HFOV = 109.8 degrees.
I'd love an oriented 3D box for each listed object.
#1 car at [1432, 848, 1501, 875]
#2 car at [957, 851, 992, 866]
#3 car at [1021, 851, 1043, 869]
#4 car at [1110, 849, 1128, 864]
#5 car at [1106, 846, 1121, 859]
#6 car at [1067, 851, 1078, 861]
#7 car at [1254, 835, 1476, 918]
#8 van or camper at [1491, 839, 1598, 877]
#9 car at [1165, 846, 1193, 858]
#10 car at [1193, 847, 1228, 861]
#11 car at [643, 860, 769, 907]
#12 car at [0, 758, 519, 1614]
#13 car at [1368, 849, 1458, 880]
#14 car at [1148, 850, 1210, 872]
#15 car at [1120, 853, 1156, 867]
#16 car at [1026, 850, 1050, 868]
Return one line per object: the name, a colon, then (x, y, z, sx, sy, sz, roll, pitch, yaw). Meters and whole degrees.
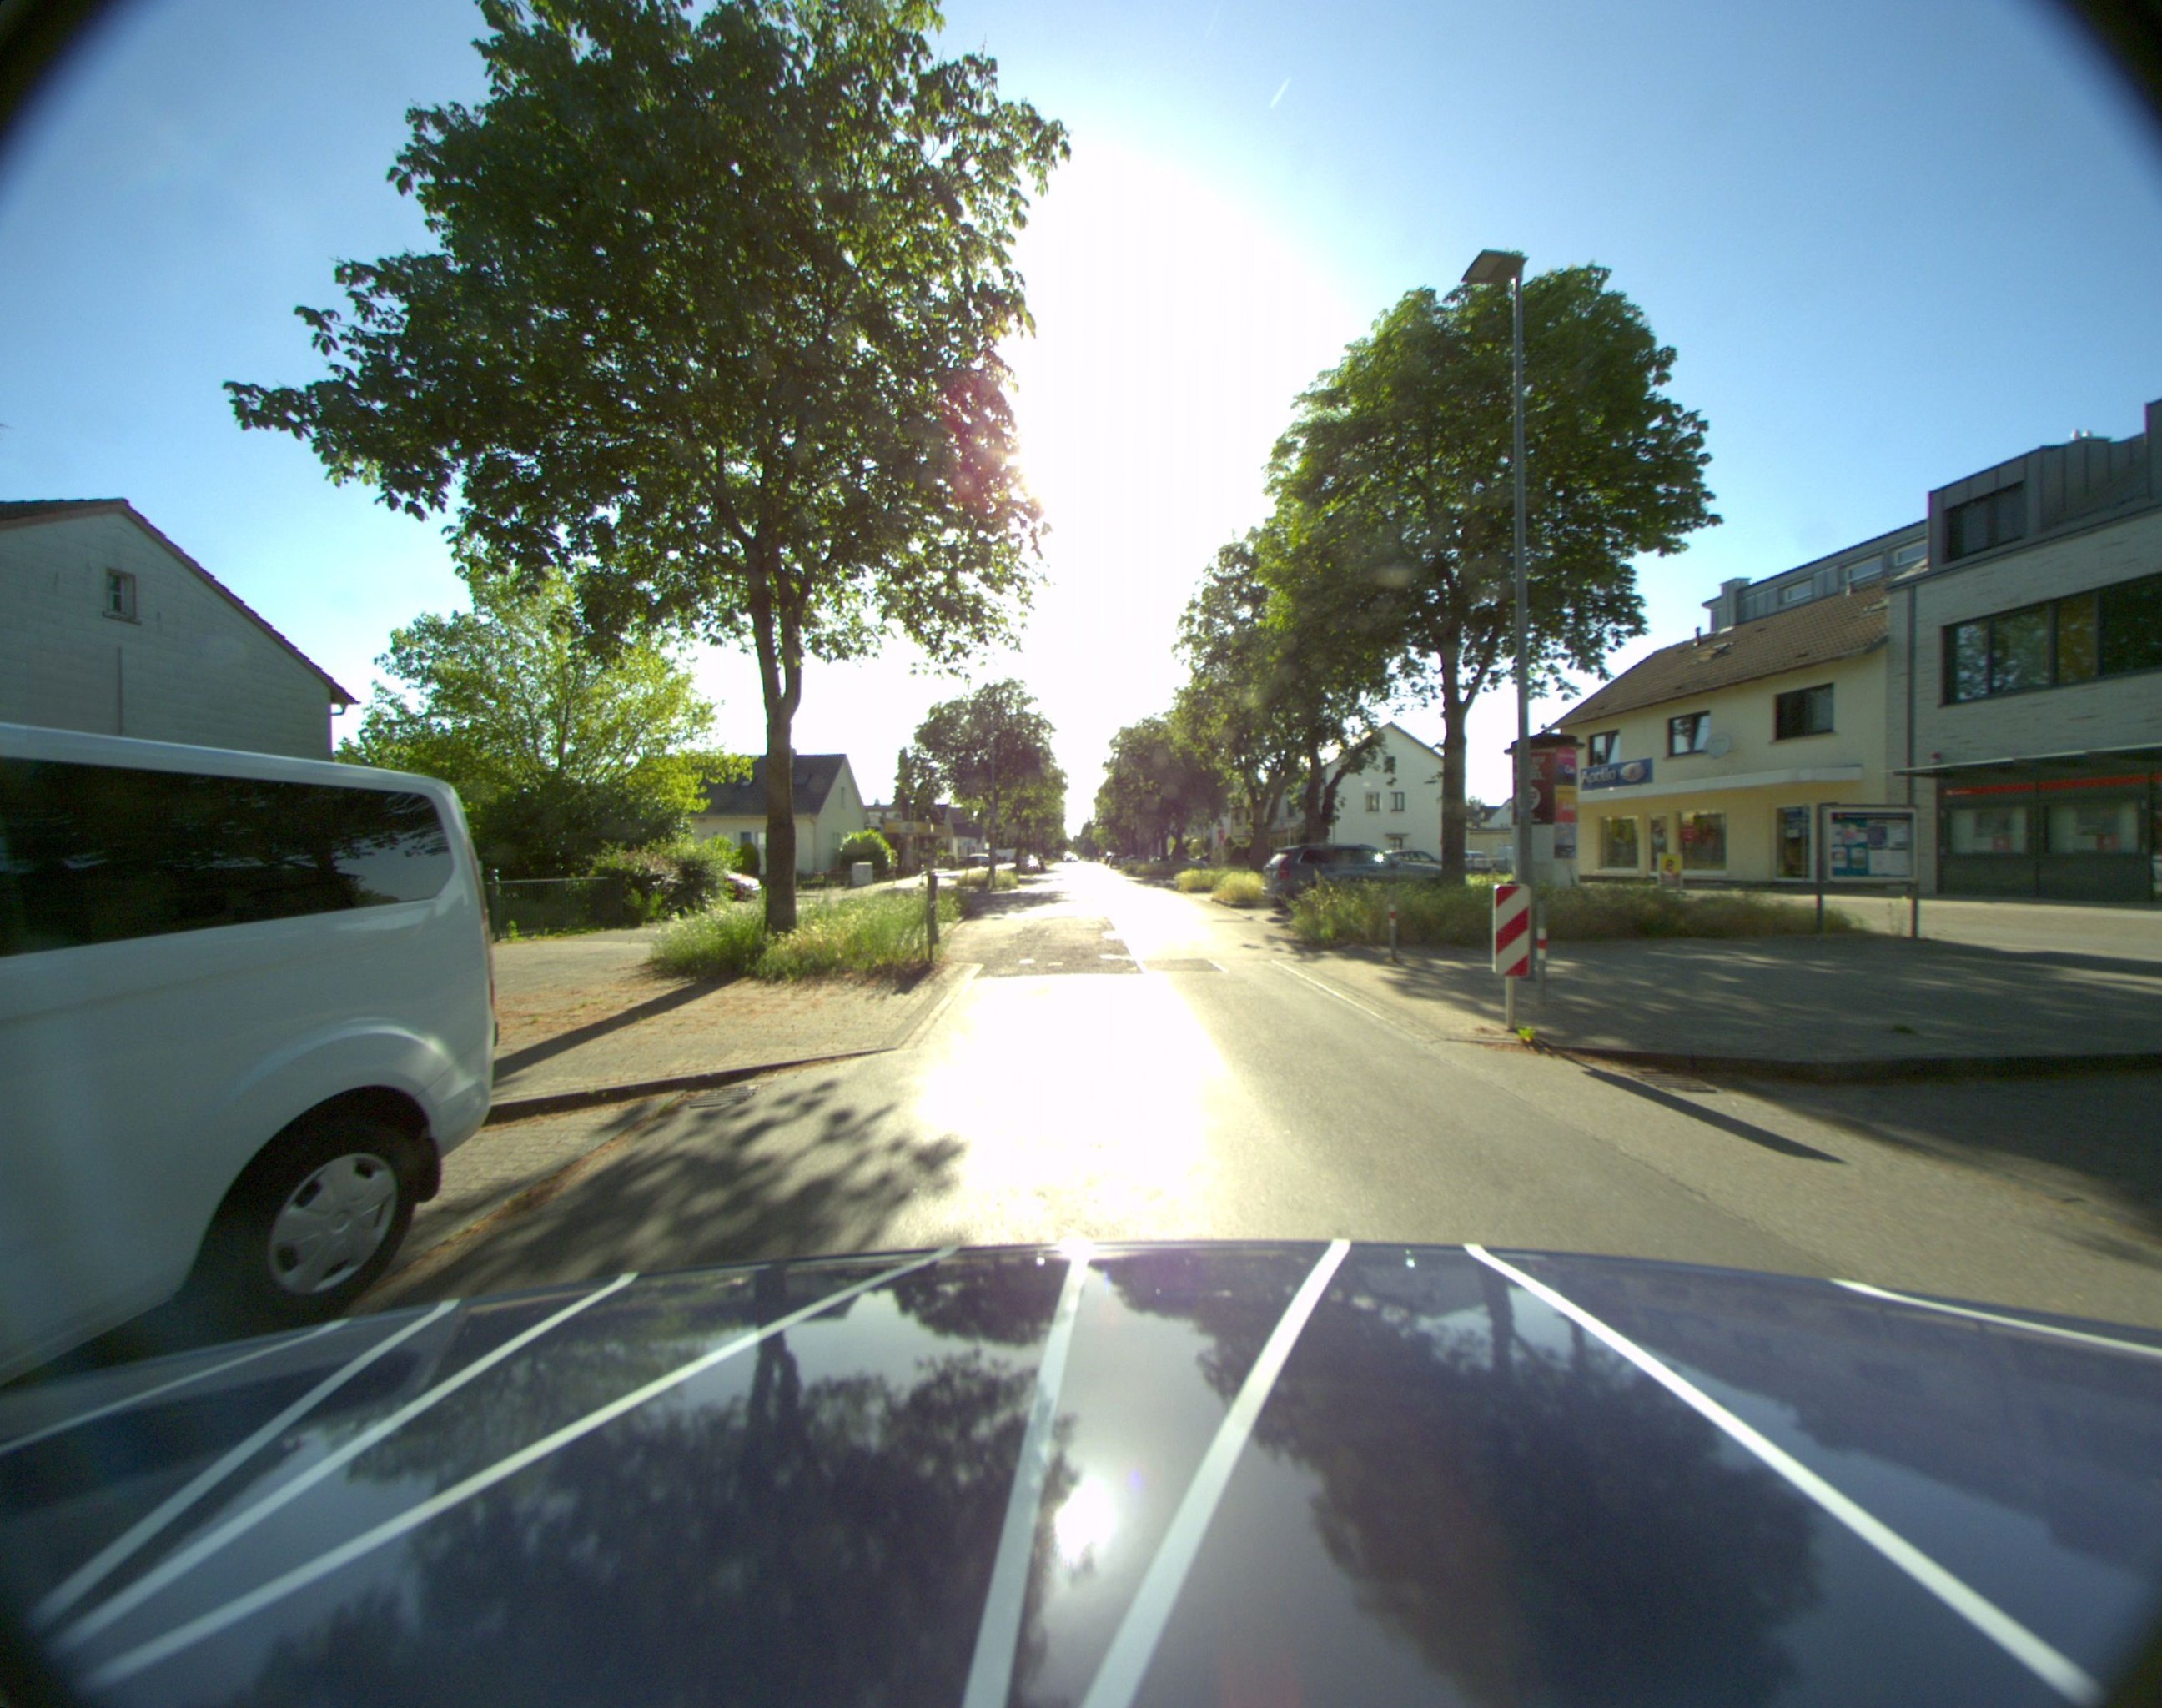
car: (25.583, 0.440, 50.594, 1.877, 1.519, 4.665, -1, 2, -5)
car: (-11.572, 0.469, 82.629, 3.622, 1.431, 1.695, -4, 1, -4)
car: (-4.306, 0.515, 67.793, 1.690, 1.414, 3.776, 0, 1, 0)
car: (4.507, 0.260, 90.081, 1.998, 1.530, 3.694, -4, 1, 2)
car: (4.310, -0.170, 101.388, 1.815, 1.722, 4.055, -1, 0, 2)
car: (-1.372, 0.320, 123.906, 1.539, 1.582, 3.458, -4, 1, 2)
car: (7.447, 0.544, 20.225, 5.076, 1.718, 1.999, -4, 1, -4)
van or camper: (25.402, 0.190, 41.753, 4.685, 2.002, 1.999, -1, 1, -3)
car: (15.391, -0.308, 119.308, 3.997, 1.674, 1.999, -4, 1, -1)
car: (14.511, -0.019, 85.283, 3.773, 1.557, 1.691, 0, 1, 3)
car: (-13.120, 1.003, 26.741, 3.550, 1.502, 1.639, -1, 0, -4)
car: (-3.544, 0.849, 0.803, 1.999, 2.002, 5.194, -4, 1, -2)
car: (17.944, 0.528, 41.160, 3.999, 1.628, 1.998, 0, 1, -7)
car: (7.441, 0.512, 57.777, 4.393, 1.408, 1.999, -2, 1, -1)
car: (6.400, 0.659, 85.172, 3.695, 1.315, 1.624, -3, 1, -6)
car: (-4.170, 0.473, 74.039, 1.941, 1.684, 4.362, -1, 0, 1)
